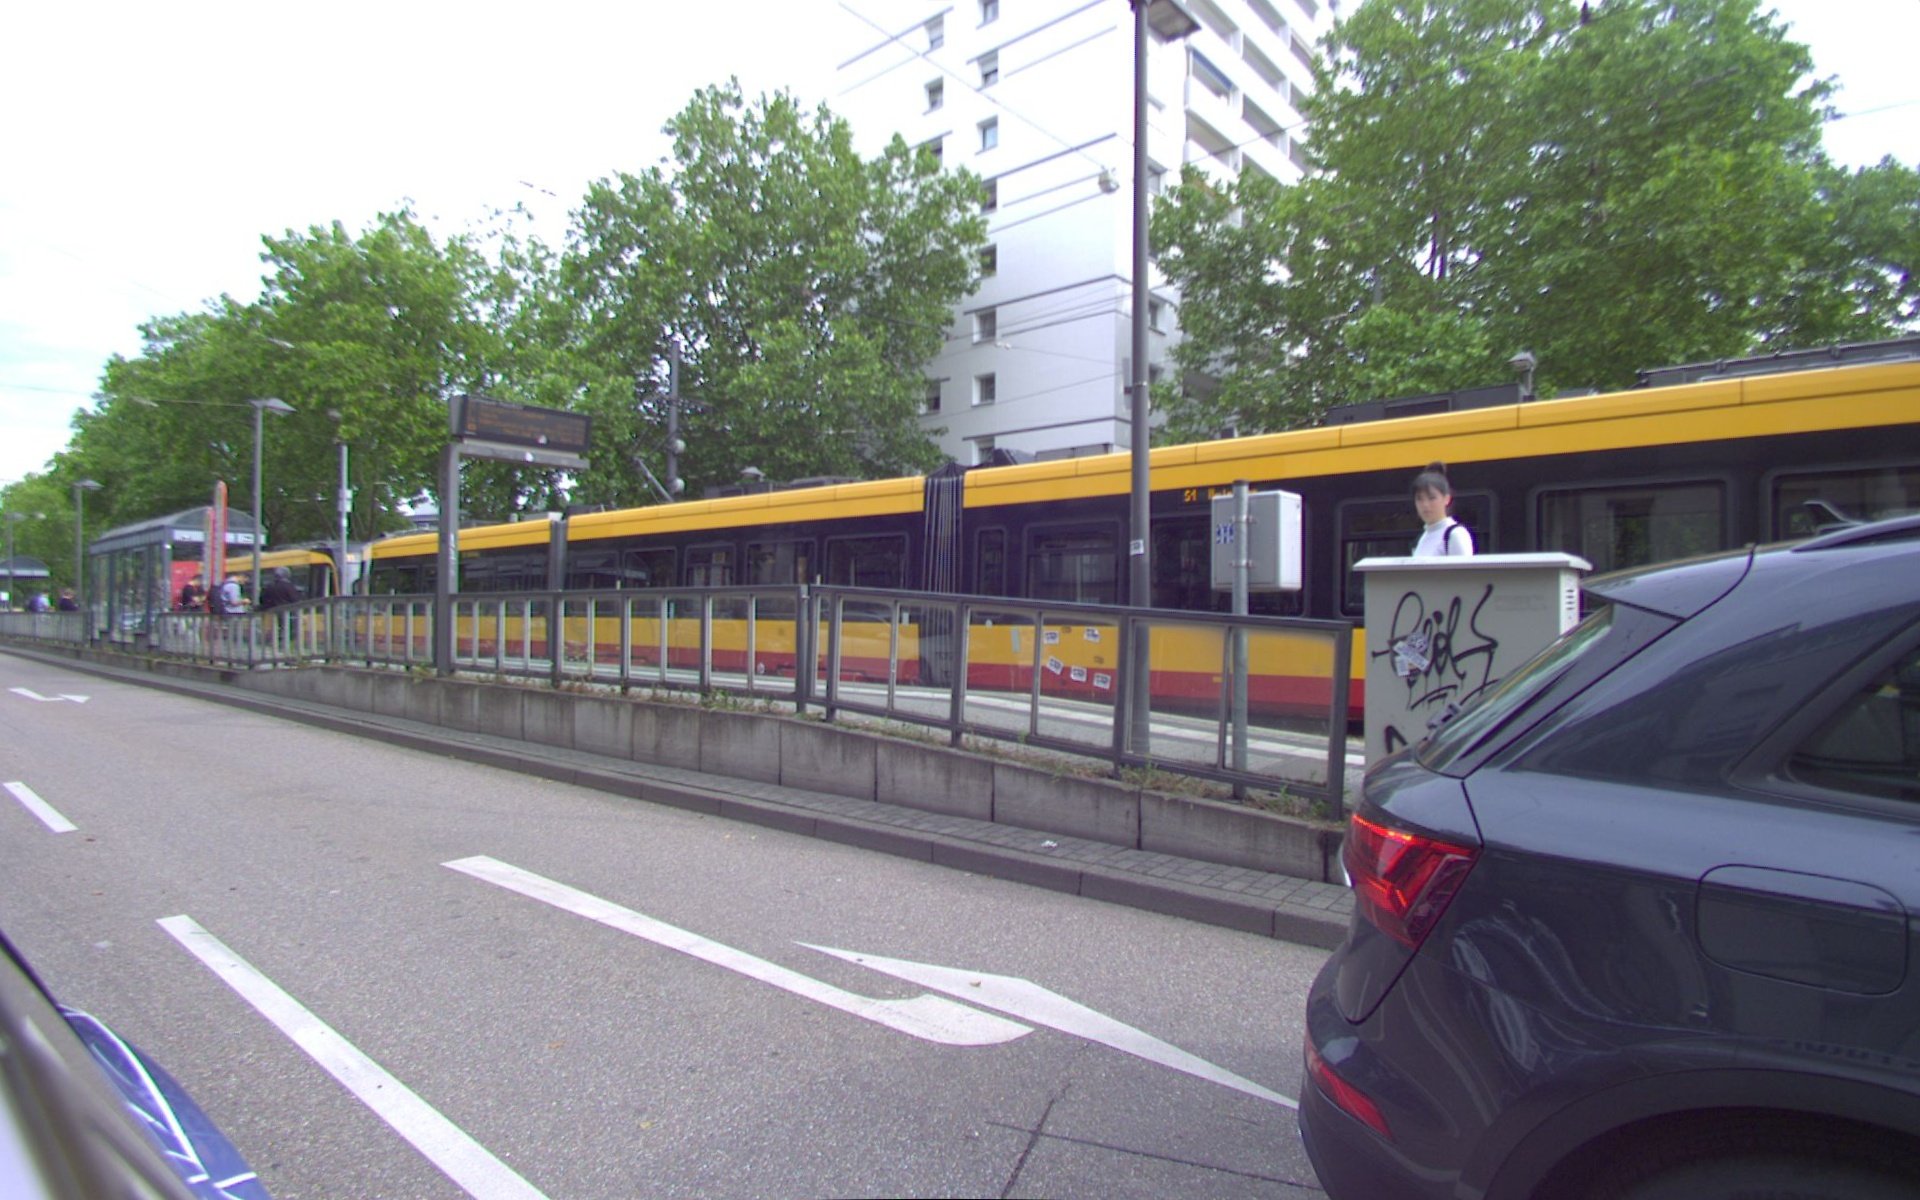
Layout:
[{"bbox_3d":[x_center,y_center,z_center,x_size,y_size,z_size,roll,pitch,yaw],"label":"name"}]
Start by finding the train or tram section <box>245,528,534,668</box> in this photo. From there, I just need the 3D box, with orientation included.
[{"bbox_3d":[-18.551,-0.022,31.920,15.287,3.558,3.028,0,0,41],"label":"train or tram section"}]

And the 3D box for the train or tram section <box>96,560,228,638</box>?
[{"bbox_3d":[-40.822,-0.018,51.530,12.534,3.588,3.060,0,0,41],"label":"train or tram section"}]

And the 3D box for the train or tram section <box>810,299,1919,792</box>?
[{"bbox_3d":[4.637,-0.386,11.536,15.841,3.615,3.028,0,0,41],"label":"train or tram section"}]

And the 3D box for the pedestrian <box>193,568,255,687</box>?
[{"bbox_3d":[-12.922,0.461,17.787,0.742,2.029,0.821,-1,0,-26],"label":"pedestrian"}]

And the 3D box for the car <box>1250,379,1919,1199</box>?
[{"bbox_3d":[2.746,0.539,1.024,4.354,1.613,1.861,-1,0,40],"label":"car"}]

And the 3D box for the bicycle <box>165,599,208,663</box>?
[{"bbox_3d":[-15.363,0.604,20.094,1.289,1.231,0.414,-1,0,41],"label":"bicycle"}]

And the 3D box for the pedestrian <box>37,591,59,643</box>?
[{"bbox_3d":[-28.996,0.545,32.175,0.392,1.645,0.474,-1,0,42],"label":"pedestrian"}]

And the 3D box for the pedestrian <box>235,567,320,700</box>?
[{"bbox_3d":[-10.739,0.516,15.934,0.808,2.029,0.754,-1,0,4],"label":"pedestrian"}]

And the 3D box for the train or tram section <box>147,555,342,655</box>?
[{"bbox_3d":[-30.212,0.198,42.156,15.764,3.558,3.028,0,0,41],"label":"train or tram section"}]

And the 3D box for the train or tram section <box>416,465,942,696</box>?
[{"bbox_3d":[-7.061,-0.270,21.810,15.287,3.558,3.028,0,0,41],"label":"train or tram section"}]

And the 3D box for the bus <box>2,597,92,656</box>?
[{"bbox_3d":[-33.383,0.916,36.960,3.998,2.029,1.973,0,0,41],"label":"bus"}]

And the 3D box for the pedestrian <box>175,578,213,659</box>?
[{"bbox_3d":[-15.986,0.379,21.114,0.471,1.645,0.526,-1,0,39],"label":"pedestrian"}]

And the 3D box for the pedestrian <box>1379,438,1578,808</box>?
[{"bbox_3d":[2.615,0.102,5.097,0.730,1.674,0.746,-1,0,41],"label":"pedestrian"}]

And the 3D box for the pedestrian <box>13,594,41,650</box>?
[{"bbox_3d":[-34.323,0.810,37.230,0.587,2.029,0.668,-1,0,38],"label":"pedestrian"}]

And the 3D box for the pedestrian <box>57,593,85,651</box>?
[{"bbox_3d":[-25.397,0.625,28.917,0.730,1.645,0.506,-1,0,42],"label":"pedestrian"}]
